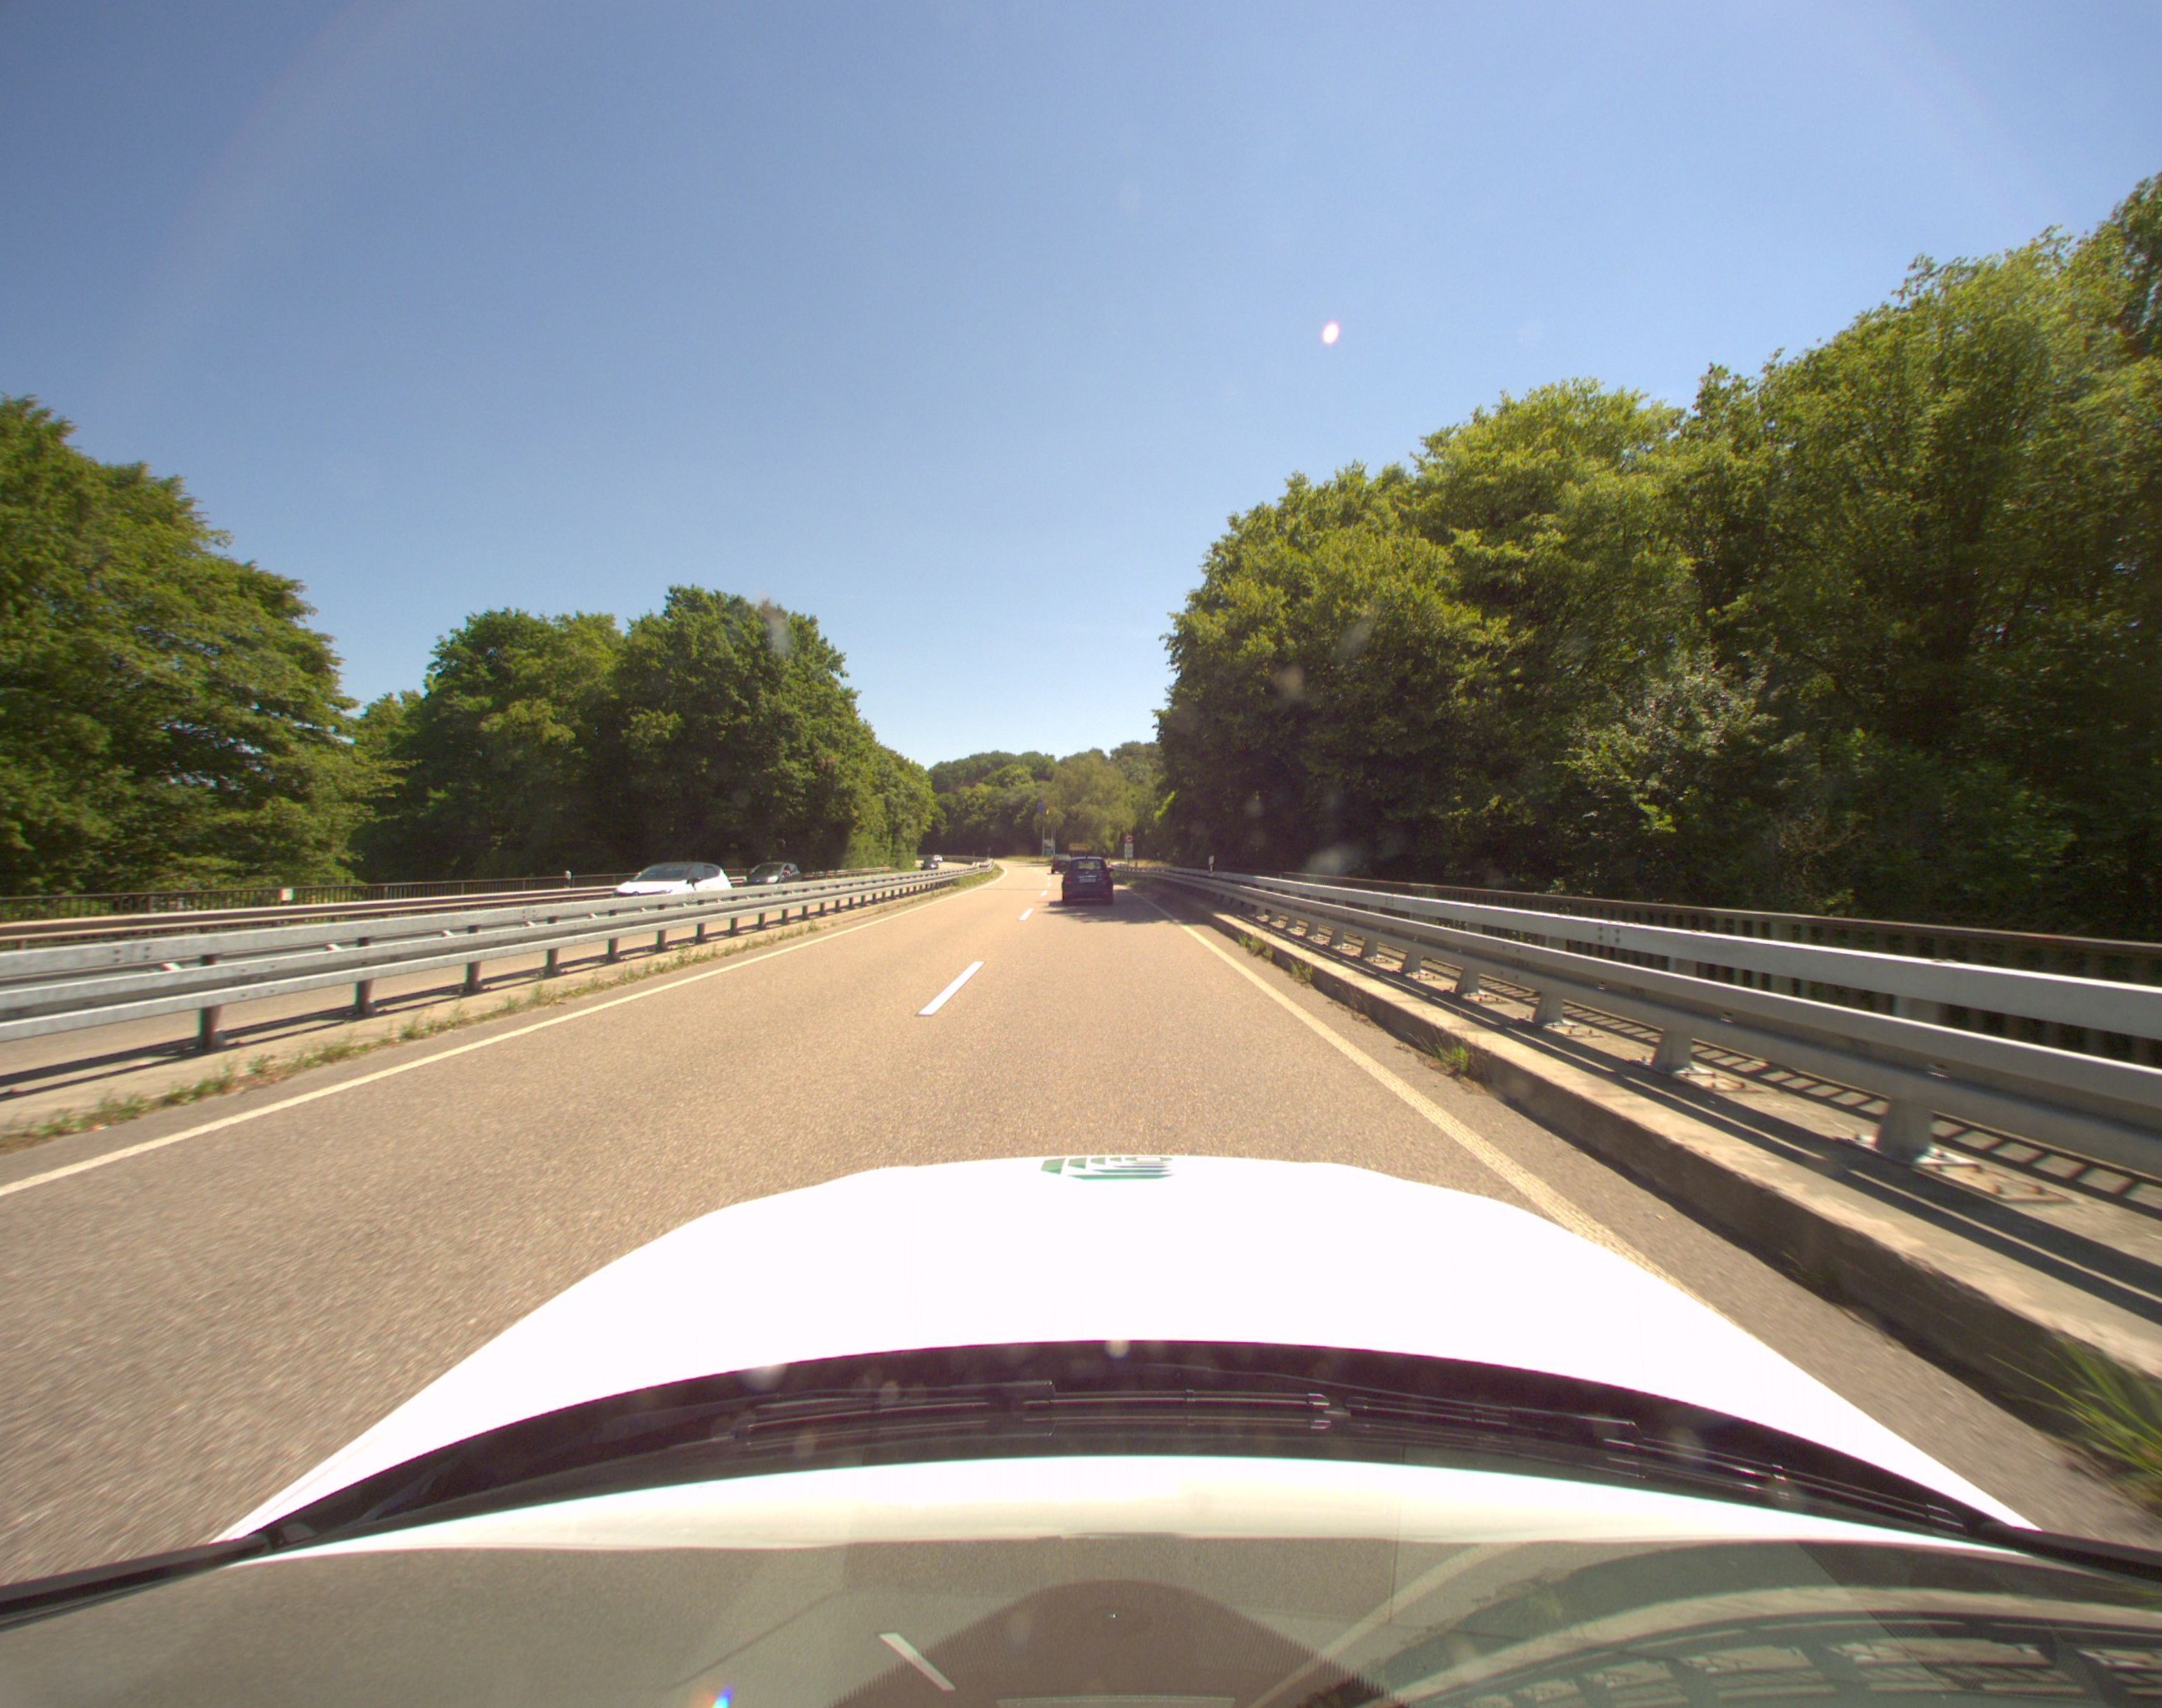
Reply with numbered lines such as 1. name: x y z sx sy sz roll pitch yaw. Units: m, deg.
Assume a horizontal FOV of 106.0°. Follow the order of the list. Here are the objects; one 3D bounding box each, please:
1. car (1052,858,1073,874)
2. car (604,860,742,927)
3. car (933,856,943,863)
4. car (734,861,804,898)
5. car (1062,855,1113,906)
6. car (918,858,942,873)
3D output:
1. car: -1.612 1.020 70.908 1.523 1.313 3.408 -1 0 -6
2. car: -11.039 0.994 22.399 1.646 1.606 4.219 -1 0 0
3. car: -31.130 1.240 176.878 1.759 1.573 4.390 -1 0 -15
4. car: -14.192 1.113 37.279 1.646 1.528 3.997 -1 0 0
5. car: 0.252 0.816 26.451 1.508 1.501 3.591 -1 0 1
6. car: -16.666 1.227 90.121 1.750 1.528 4.683 -1 0 0
